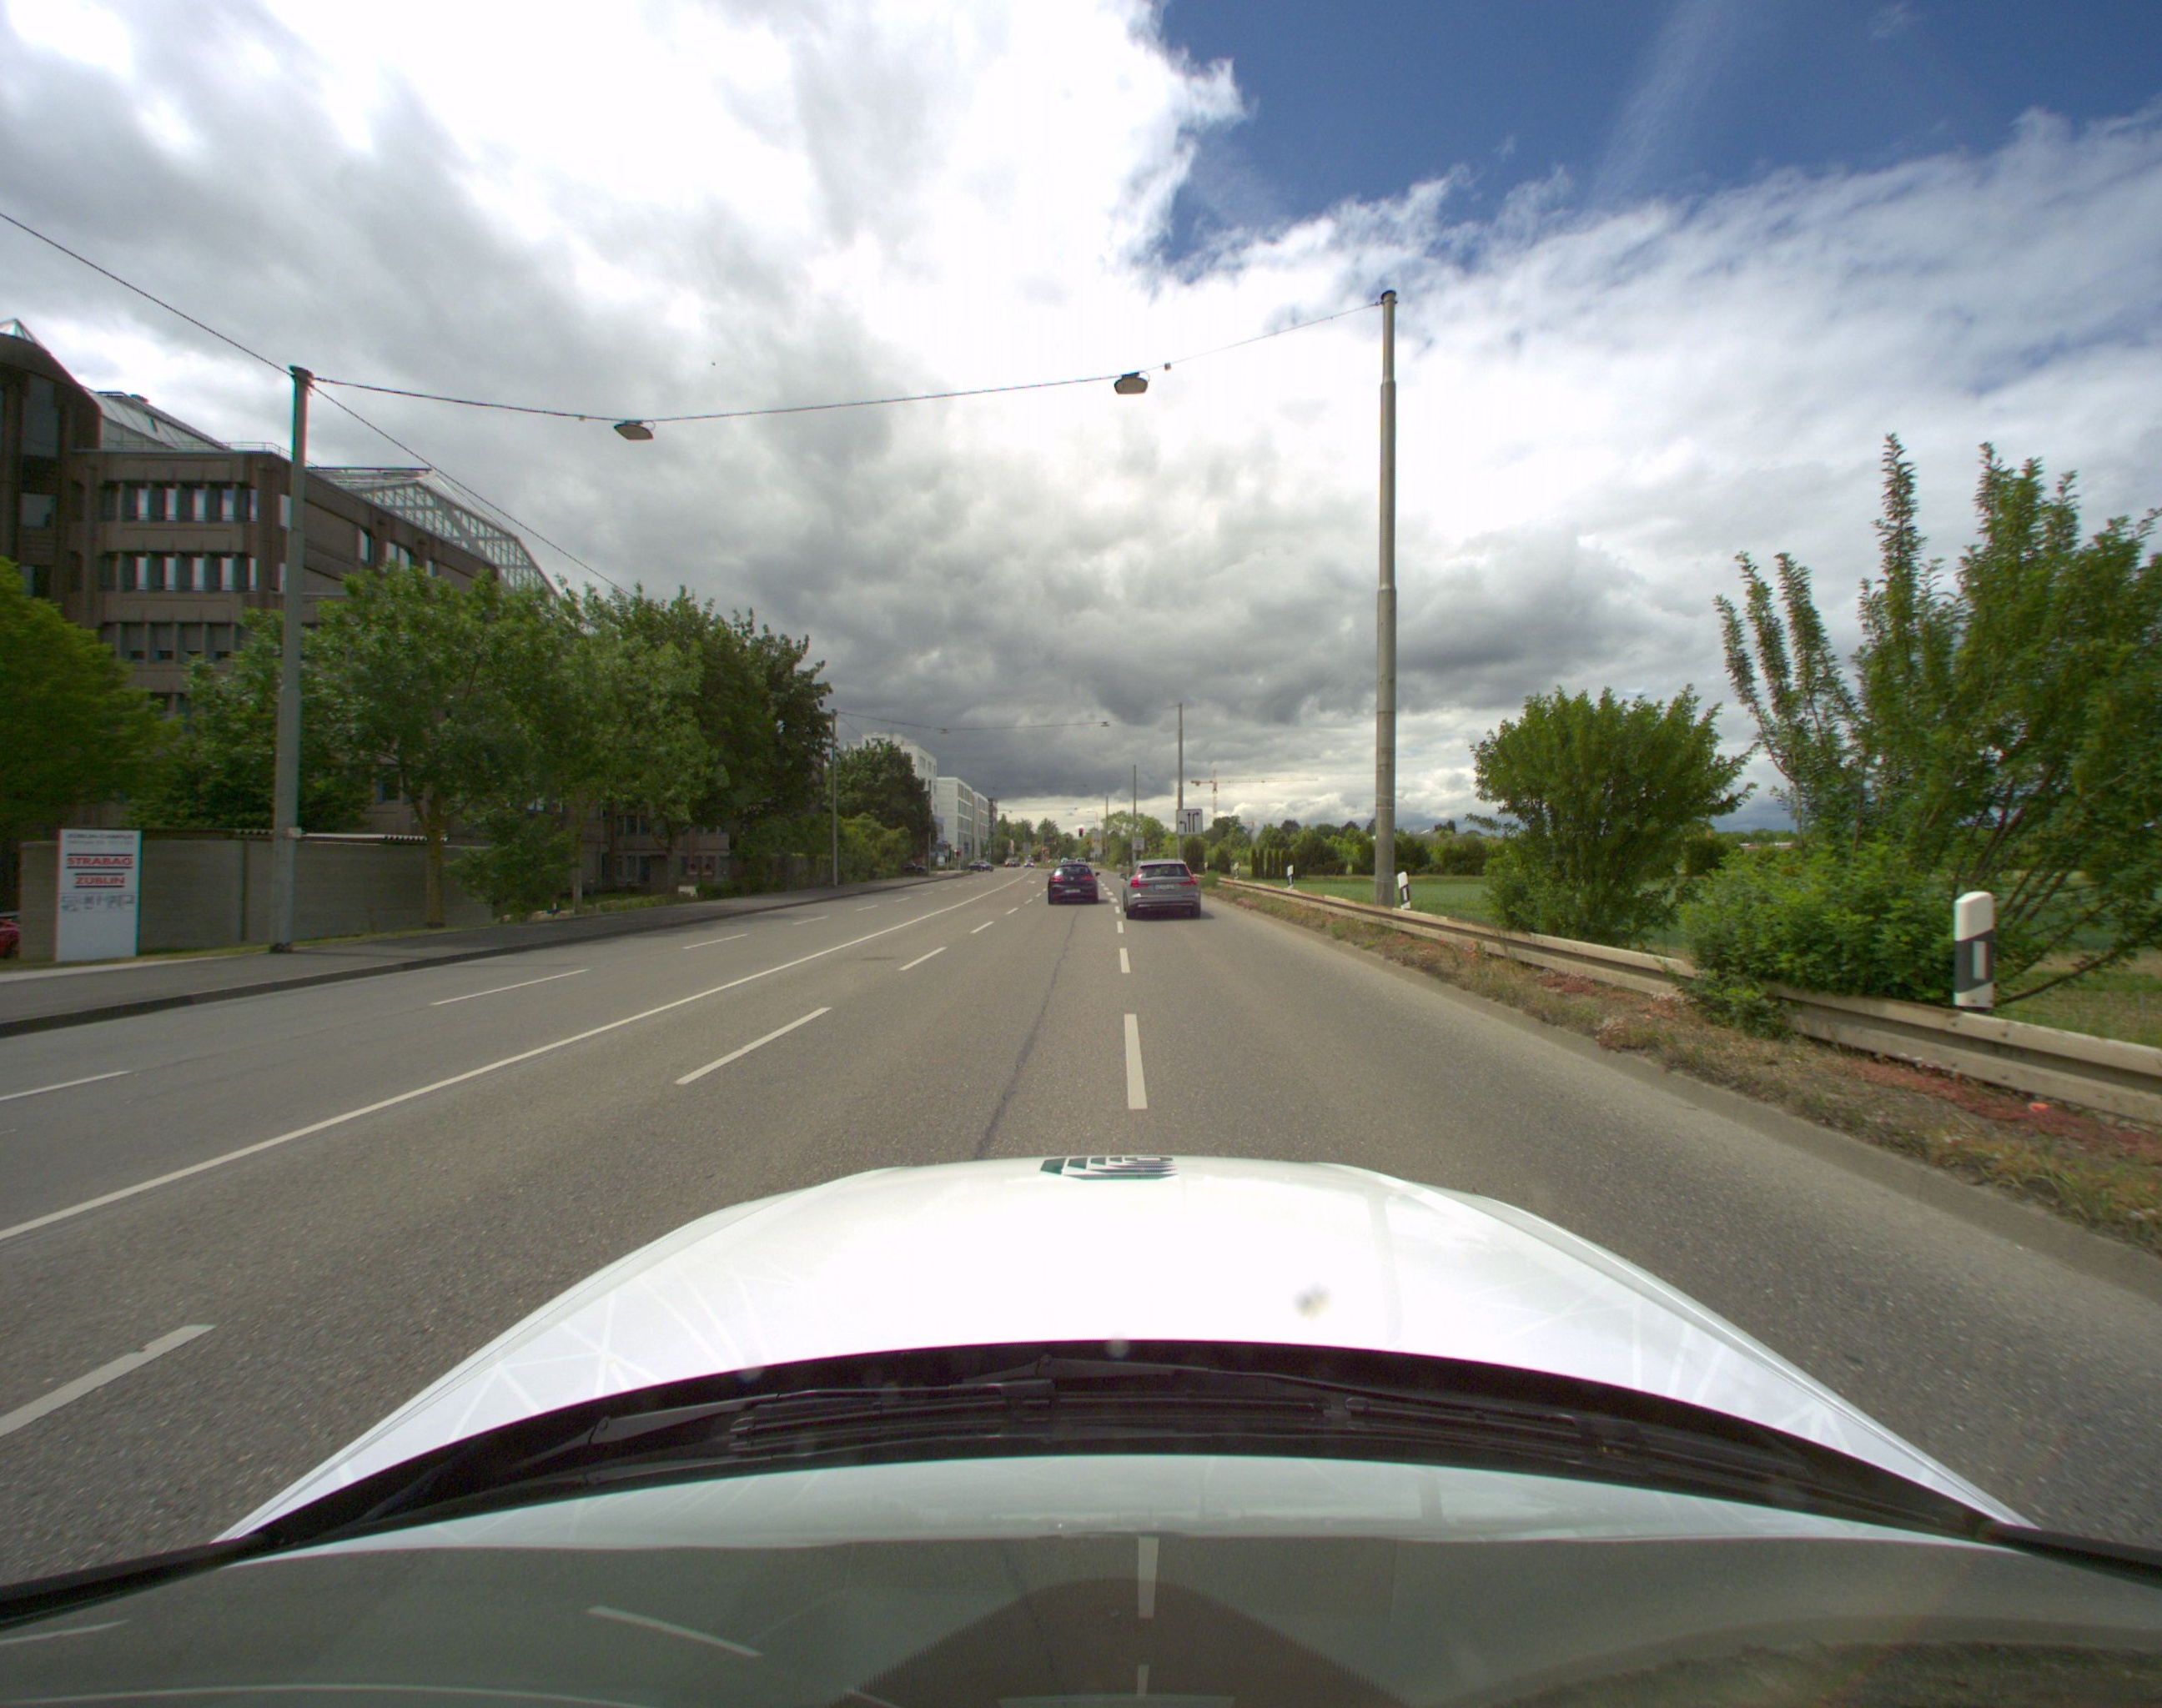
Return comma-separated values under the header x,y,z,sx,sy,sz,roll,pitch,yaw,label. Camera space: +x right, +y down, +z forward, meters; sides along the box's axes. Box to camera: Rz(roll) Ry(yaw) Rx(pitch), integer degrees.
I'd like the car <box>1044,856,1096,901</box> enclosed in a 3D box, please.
x,y,z,sx,sy,sz,roll,pitch,yaw,label
-0.336,0.847,29.256,1.741,1.484,4.000,0,-1,1,car

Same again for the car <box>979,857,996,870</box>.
x,y,z,sx,sy,sz,roll,pitch,yaw,label
-12.652,1.270,110.316,1.792,1.585,4.309,2,-1,-2,car

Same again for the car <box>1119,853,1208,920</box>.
x,y,z,sx,sy,sz,roll,pitch,yaw,label
2.062,0.805,21.610,1.951,1.525,4.340,-2,-1,1,car

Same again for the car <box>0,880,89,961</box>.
x,y,z,sx,sy,sz,roll,pitch,yaw,label
-25.076,1.488,17.851,1.860,1.794,3.992,-1,-3,-5,car

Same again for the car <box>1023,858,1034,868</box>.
x,y,z,sx,sy,sz,roll,pitch,yaw,label
-9.353,1.613,145.504,1.665,1.524,4.004,-2,1,-2,car

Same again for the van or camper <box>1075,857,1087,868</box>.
x,y,z,sx,sy,sz,roll,pitch,yaw,label
0.056,1.652,157.448,1.896,1.926,3.993,2,-1,-5,van or camper

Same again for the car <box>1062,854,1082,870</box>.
x,y,z,sx,sy,sz,roll,pitch,yaw,label
-1.033,0.870,86.837,1.979,1.590,4.221,0,1,-3,car

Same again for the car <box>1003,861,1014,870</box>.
x,y,z,sx,sy,sz,roll,pitch,yaw,label
-13.042,2.044,146.839,1.747,1.631,3.996,-2,0,-3,car
